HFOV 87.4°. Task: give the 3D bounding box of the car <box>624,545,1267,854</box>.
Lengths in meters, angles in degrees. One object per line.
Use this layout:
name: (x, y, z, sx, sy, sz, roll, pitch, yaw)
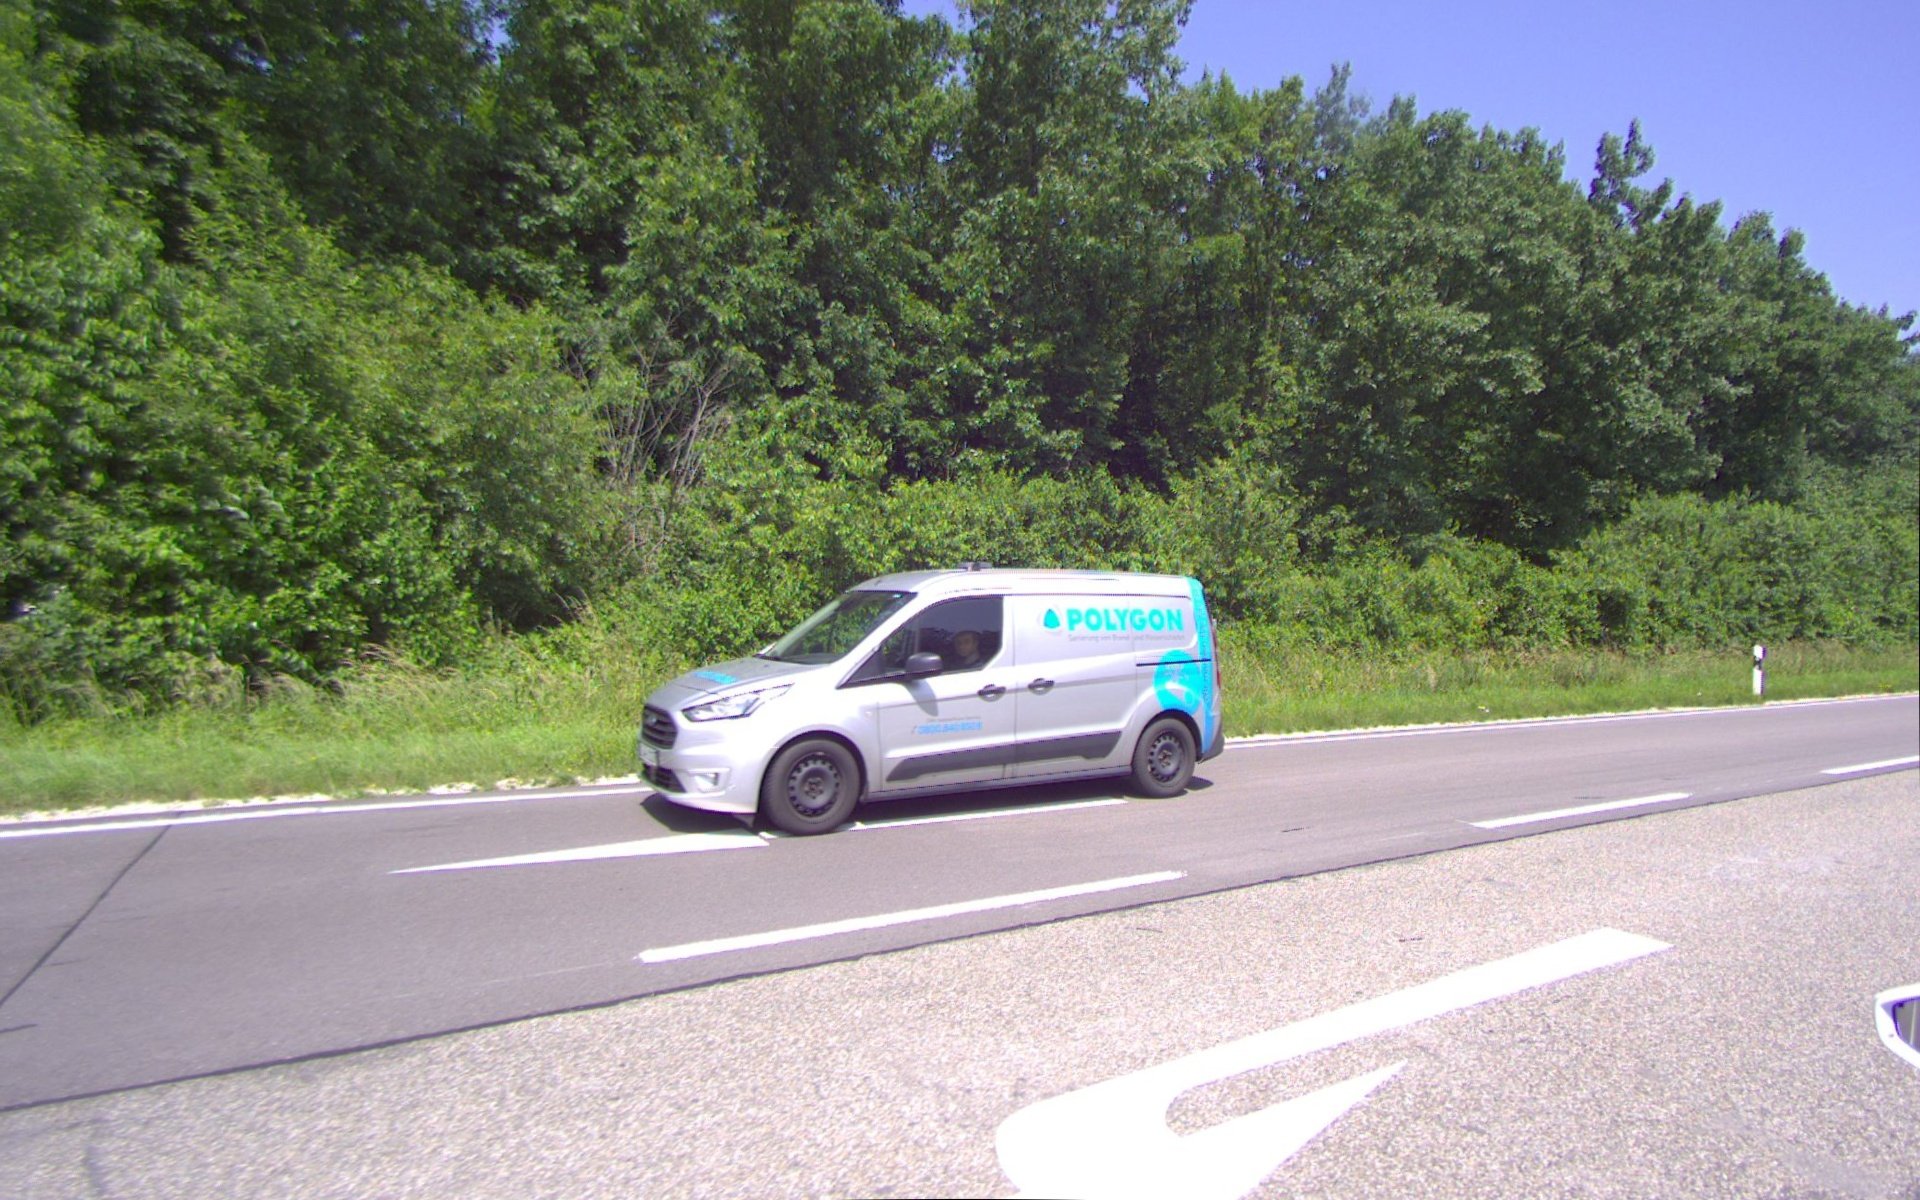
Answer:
car: (0.048, 0.610, 7.932, 4.839, 1.803, 1.832, 1, 0, -32)
